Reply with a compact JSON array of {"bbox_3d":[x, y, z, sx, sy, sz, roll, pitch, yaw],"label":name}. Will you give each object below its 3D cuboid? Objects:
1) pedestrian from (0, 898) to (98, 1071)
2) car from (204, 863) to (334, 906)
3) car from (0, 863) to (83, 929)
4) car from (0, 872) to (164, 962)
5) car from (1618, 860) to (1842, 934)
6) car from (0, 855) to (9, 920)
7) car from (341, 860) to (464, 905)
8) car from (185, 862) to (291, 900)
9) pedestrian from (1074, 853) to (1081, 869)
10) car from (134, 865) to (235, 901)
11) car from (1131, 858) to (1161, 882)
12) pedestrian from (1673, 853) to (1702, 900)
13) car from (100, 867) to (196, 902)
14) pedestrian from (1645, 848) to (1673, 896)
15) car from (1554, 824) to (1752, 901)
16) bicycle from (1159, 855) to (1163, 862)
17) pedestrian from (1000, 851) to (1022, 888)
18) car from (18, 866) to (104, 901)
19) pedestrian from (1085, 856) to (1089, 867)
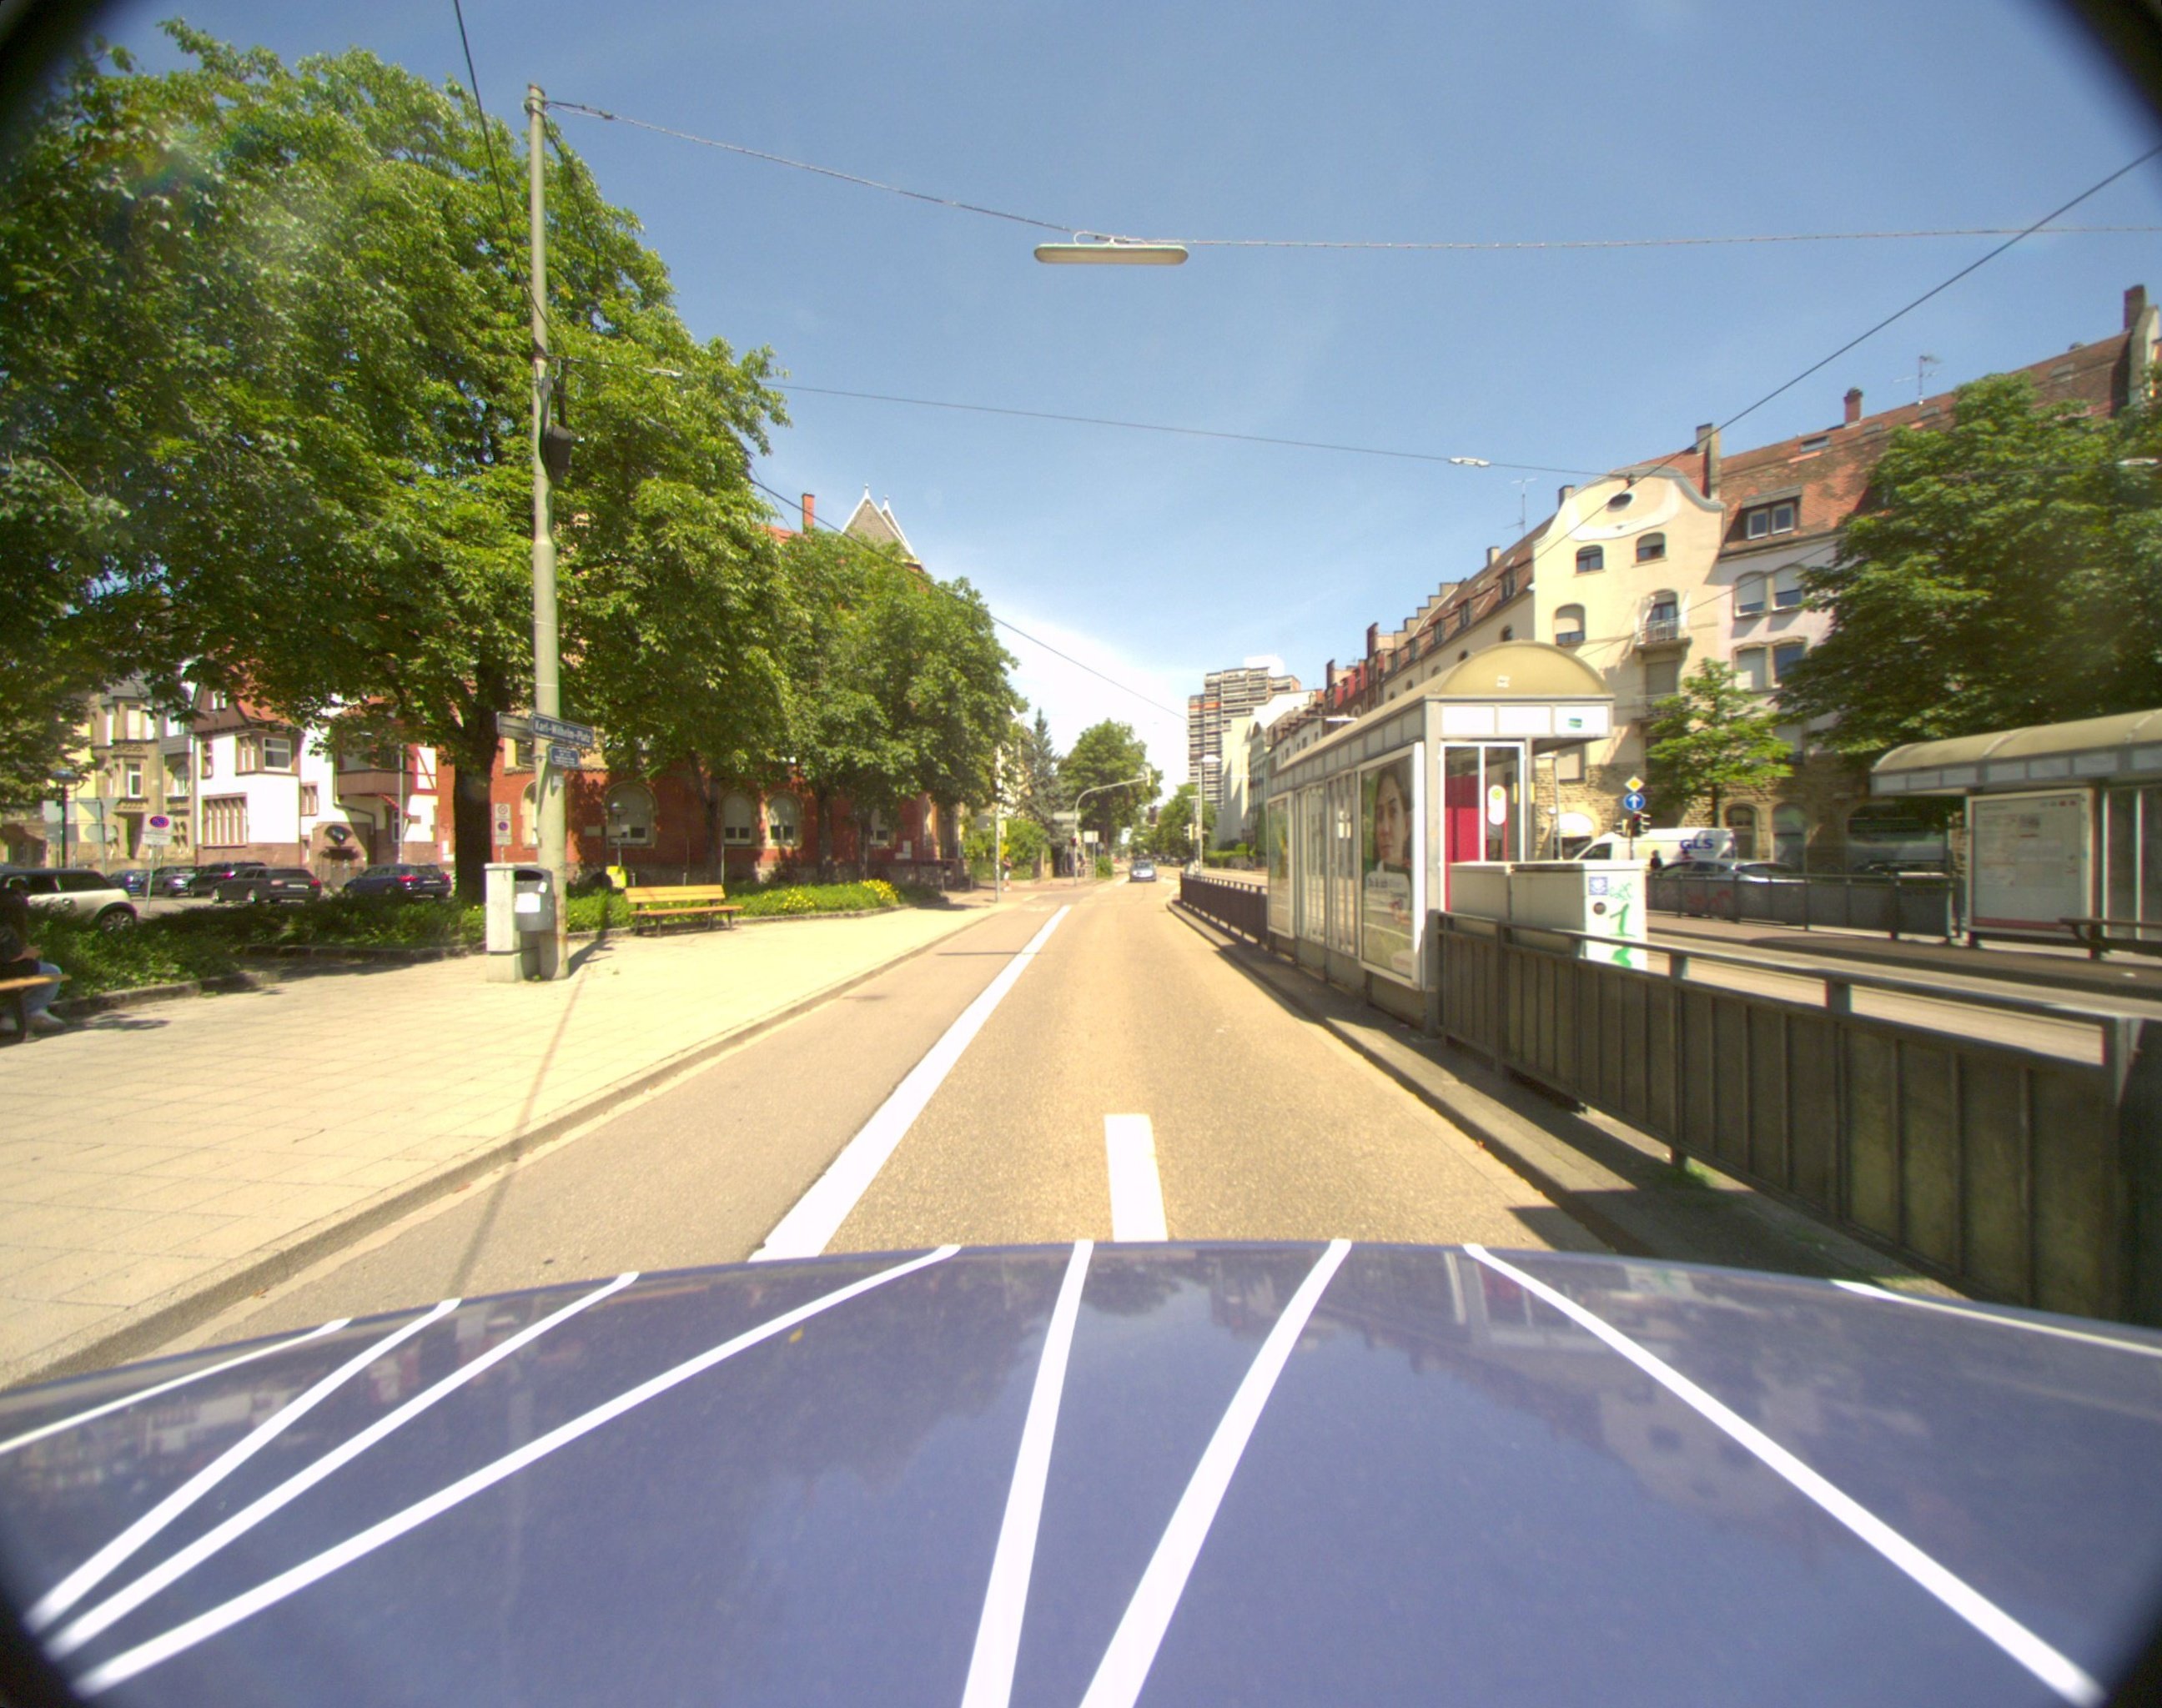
[{"bbox_3d":[-7.739,0.909,5.416,0.566,1.136,0.725,0,1,-16],"label":"pedestrian"},{"bbox_3d":[-31.298,1.197,29.281,5.023,1.474,1.941,-2,1,26],"label":"car"},{"bbox_3d":[-32.839,1.300,22.026,1.934,1.869,4.315,-2,1,23],"label":"car"},{"bbox_3d":[-19.266,1.100,13.603,1.706,1.497,3.648,-1,-1,-12],"label":"car"},{"bbox_3d":[14.842,0.903,17.723,1.812,1.386,3.999,-2,1,1],"label":"car"},{"bbox_3d":[-37.655,1.200,23.794,1.934,2.178,4.315,-2,1,23],"label":"car"},{"bbox_3d":[-27.039,1.131,30.286,4.299,1.608,1.941,-2,1,23],"label":"car"},{"bbox_3d":[-39.585,1.274,35.665,4.299,1.608,1.941,-2,1,23],"label":"car"},{"bbox_3d":[-0.343,0.757,78.648,0.702,1.645,0.665,0,0,1],"label":"pedestrian"},{"bbox_3d":[-44.144,1.430,37.411,4.299,1.608,1.941,-2,1,23],"label":"car"},{"bbox_3d":[4.340,1.030,50.885,1.895,1.372,4.001,-2,1,5],"label":"car"},{"bbox_3d":[20.292,0.745,25.422,0.594,1.542,0.474,0,0,-1],"label":"pedestrian"},{"bbox_3d":[-48.418,1.571,39.434,4.299,1.608,1.941,-2,1,23],"label":"car"},{"bbox_3d":[20.115,0.617,26.446,0.594,1.637,0.474,0,0,1],"label":"pedestrian"},{"bbox_3d":[21.864,0.326,29.263,5.811,2.658,2.278,-1,1,45],"label":"car"},{"bbox_3d":[17.652,1.058,167.845,0.644,1.503,1.970,-2,1,-2],"label":"bicycle"},{"bbox_3d":[-3.486,0.770,37.648,0.840,1.813,0.672,-1,1,-37],"label":"pedestrian"},{"bbox_3d":[-59.173,1.710,44.079,4.299,1.862,1.941,-2,1,23],"label":"car"},{"bbox_3d":[0.944,1.136,119.547,0.686,1.732,0.660,-2,1,3],"label":"pedestrian"}]
